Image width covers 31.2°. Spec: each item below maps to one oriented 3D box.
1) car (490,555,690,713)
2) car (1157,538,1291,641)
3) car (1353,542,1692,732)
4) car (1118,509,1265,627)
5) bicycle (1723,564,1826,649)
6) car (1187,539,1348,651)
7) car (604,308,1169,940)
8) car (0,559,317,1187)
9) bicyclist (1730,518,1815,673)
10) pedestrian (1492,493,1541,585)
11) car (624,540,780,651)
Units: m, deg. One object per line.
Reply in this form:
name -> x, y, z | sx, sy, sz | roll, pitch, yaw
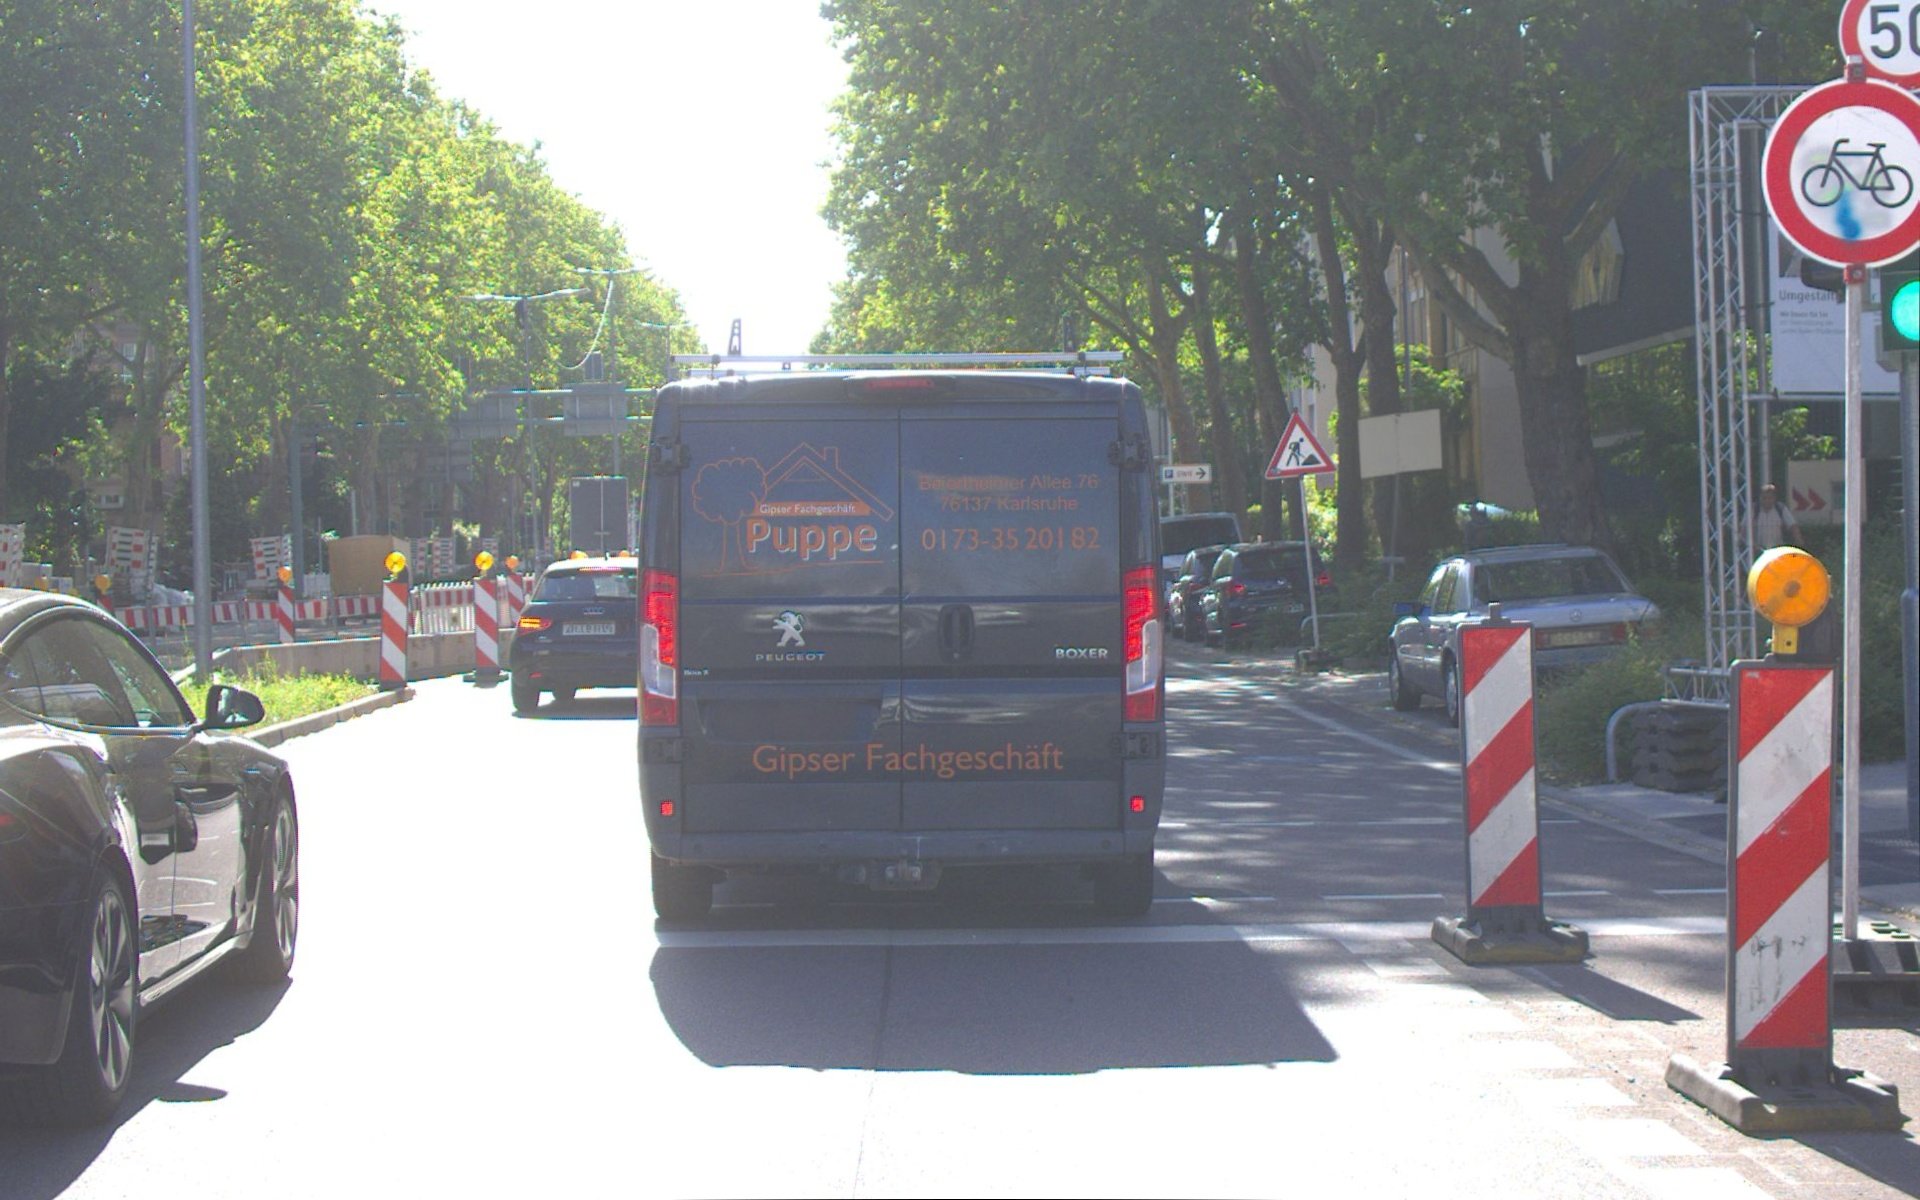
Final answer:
car -> -3.536, 0.282, 33.415 | 1.746, 1.402, 4.001 | 0, 1, -3
car -> 4.099, -0.184, 53.888 | 1.657, 1.535, 4.129 | 0, 1, -2
car -> 4.736, 0.255, 29.679 | 1.852, 1.474, 4.943 | -1, 1, -3
car -> 4.025, -0.573, 60.573 | 2.025, 1.940, 5.274 | -1, 1, -2
bicycle -> 9.682, 0.064, 40.923 | 0.782, 0.963, 1.823 | -1, 1, 0
car -> 4.331, -0.097, 48.901 | 1.763, 1.503, 4.251 | -1, 1, -2
car -> -0.289, 0.041, 14.835 | 2.095, 2.347, 3.933 | 0, 1, 0
car -> -3.216, 0.621, 10.165 | 1.925, 1.407, 4.626 | -1, 1, -3
bicyclist -> 9.671, -0.062, 40.963 | 0.724, 1.814, 1.071 | -1, 1, -1
pedestrian -> 10.243, -1.131, 63.298 | 0.705, 1.643, 0.675 | 1, 3, -4
car -> -3.614, -0.087, 48.846 | 1.911, 1.439, 4.603 | -2, 1, -1
